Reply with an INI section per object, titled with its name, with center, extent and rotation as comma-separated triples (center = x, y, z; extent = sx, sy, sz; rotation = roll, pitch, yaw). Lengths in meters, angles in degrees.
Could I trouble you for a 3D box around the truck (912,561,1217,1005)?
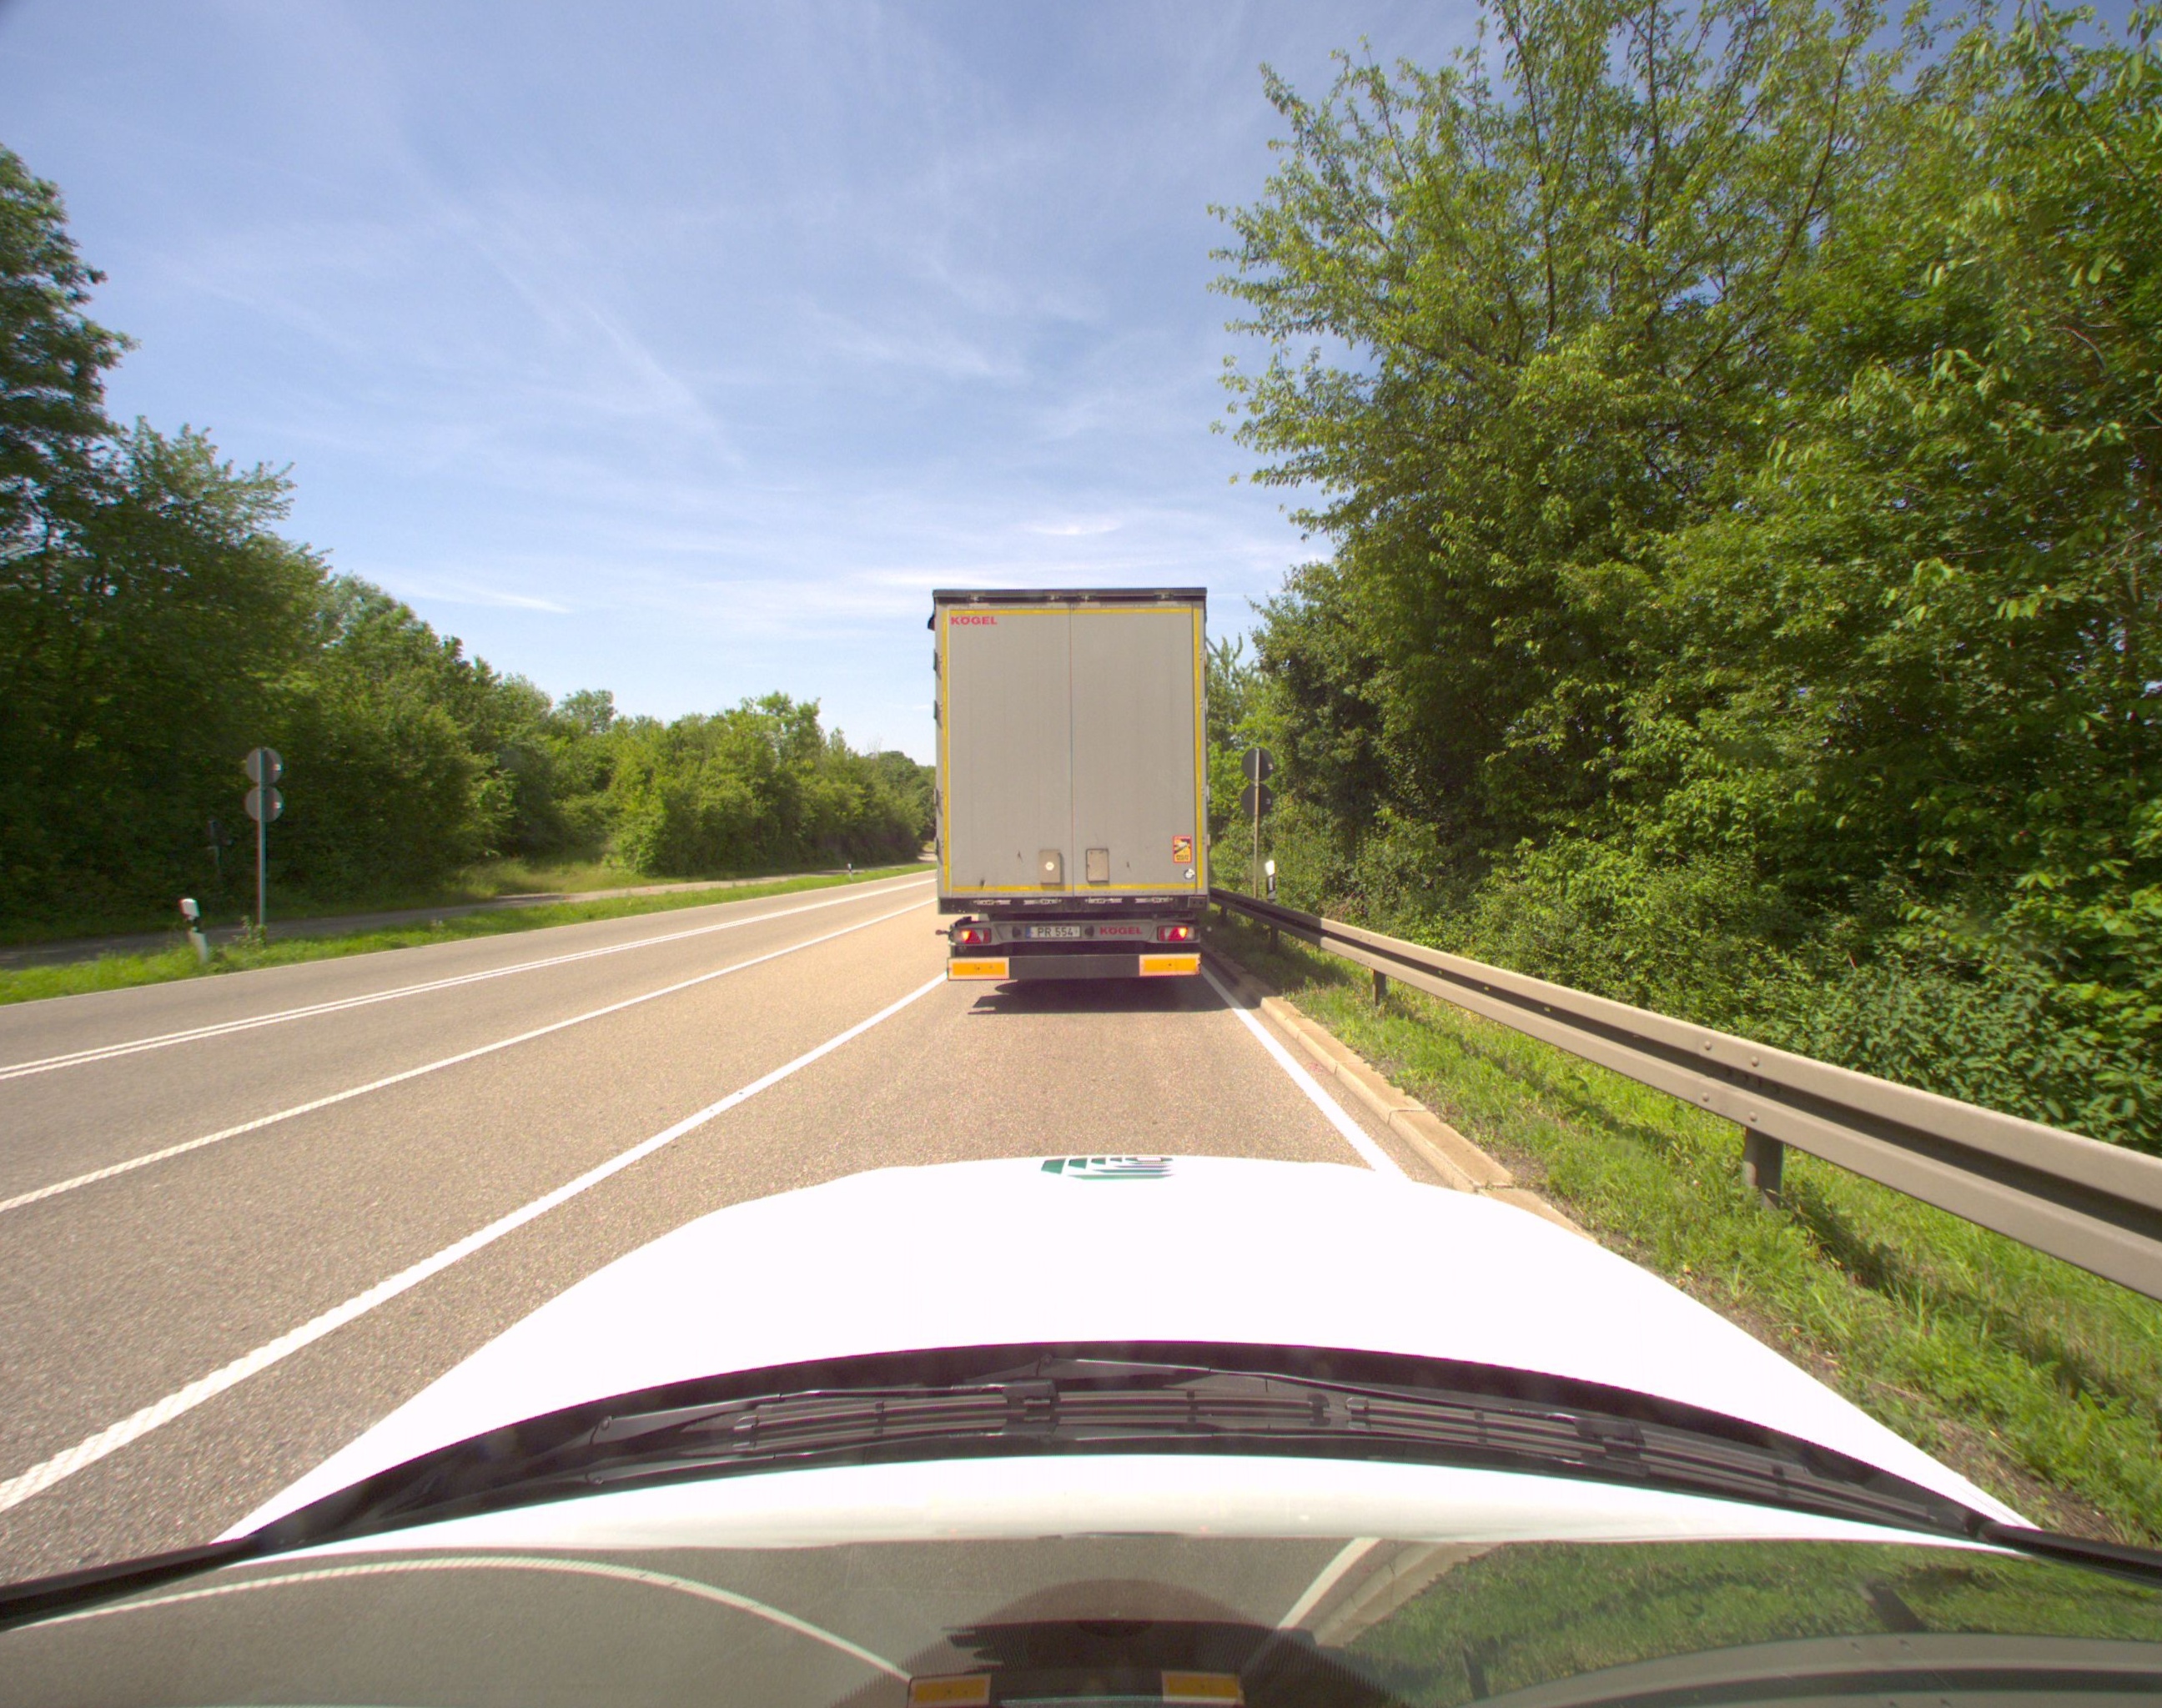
[truck]
center = -0.032, -0.666, 13.412
extent = 2.747, 4.029, 11.926
rotation = -1, 0, 1
